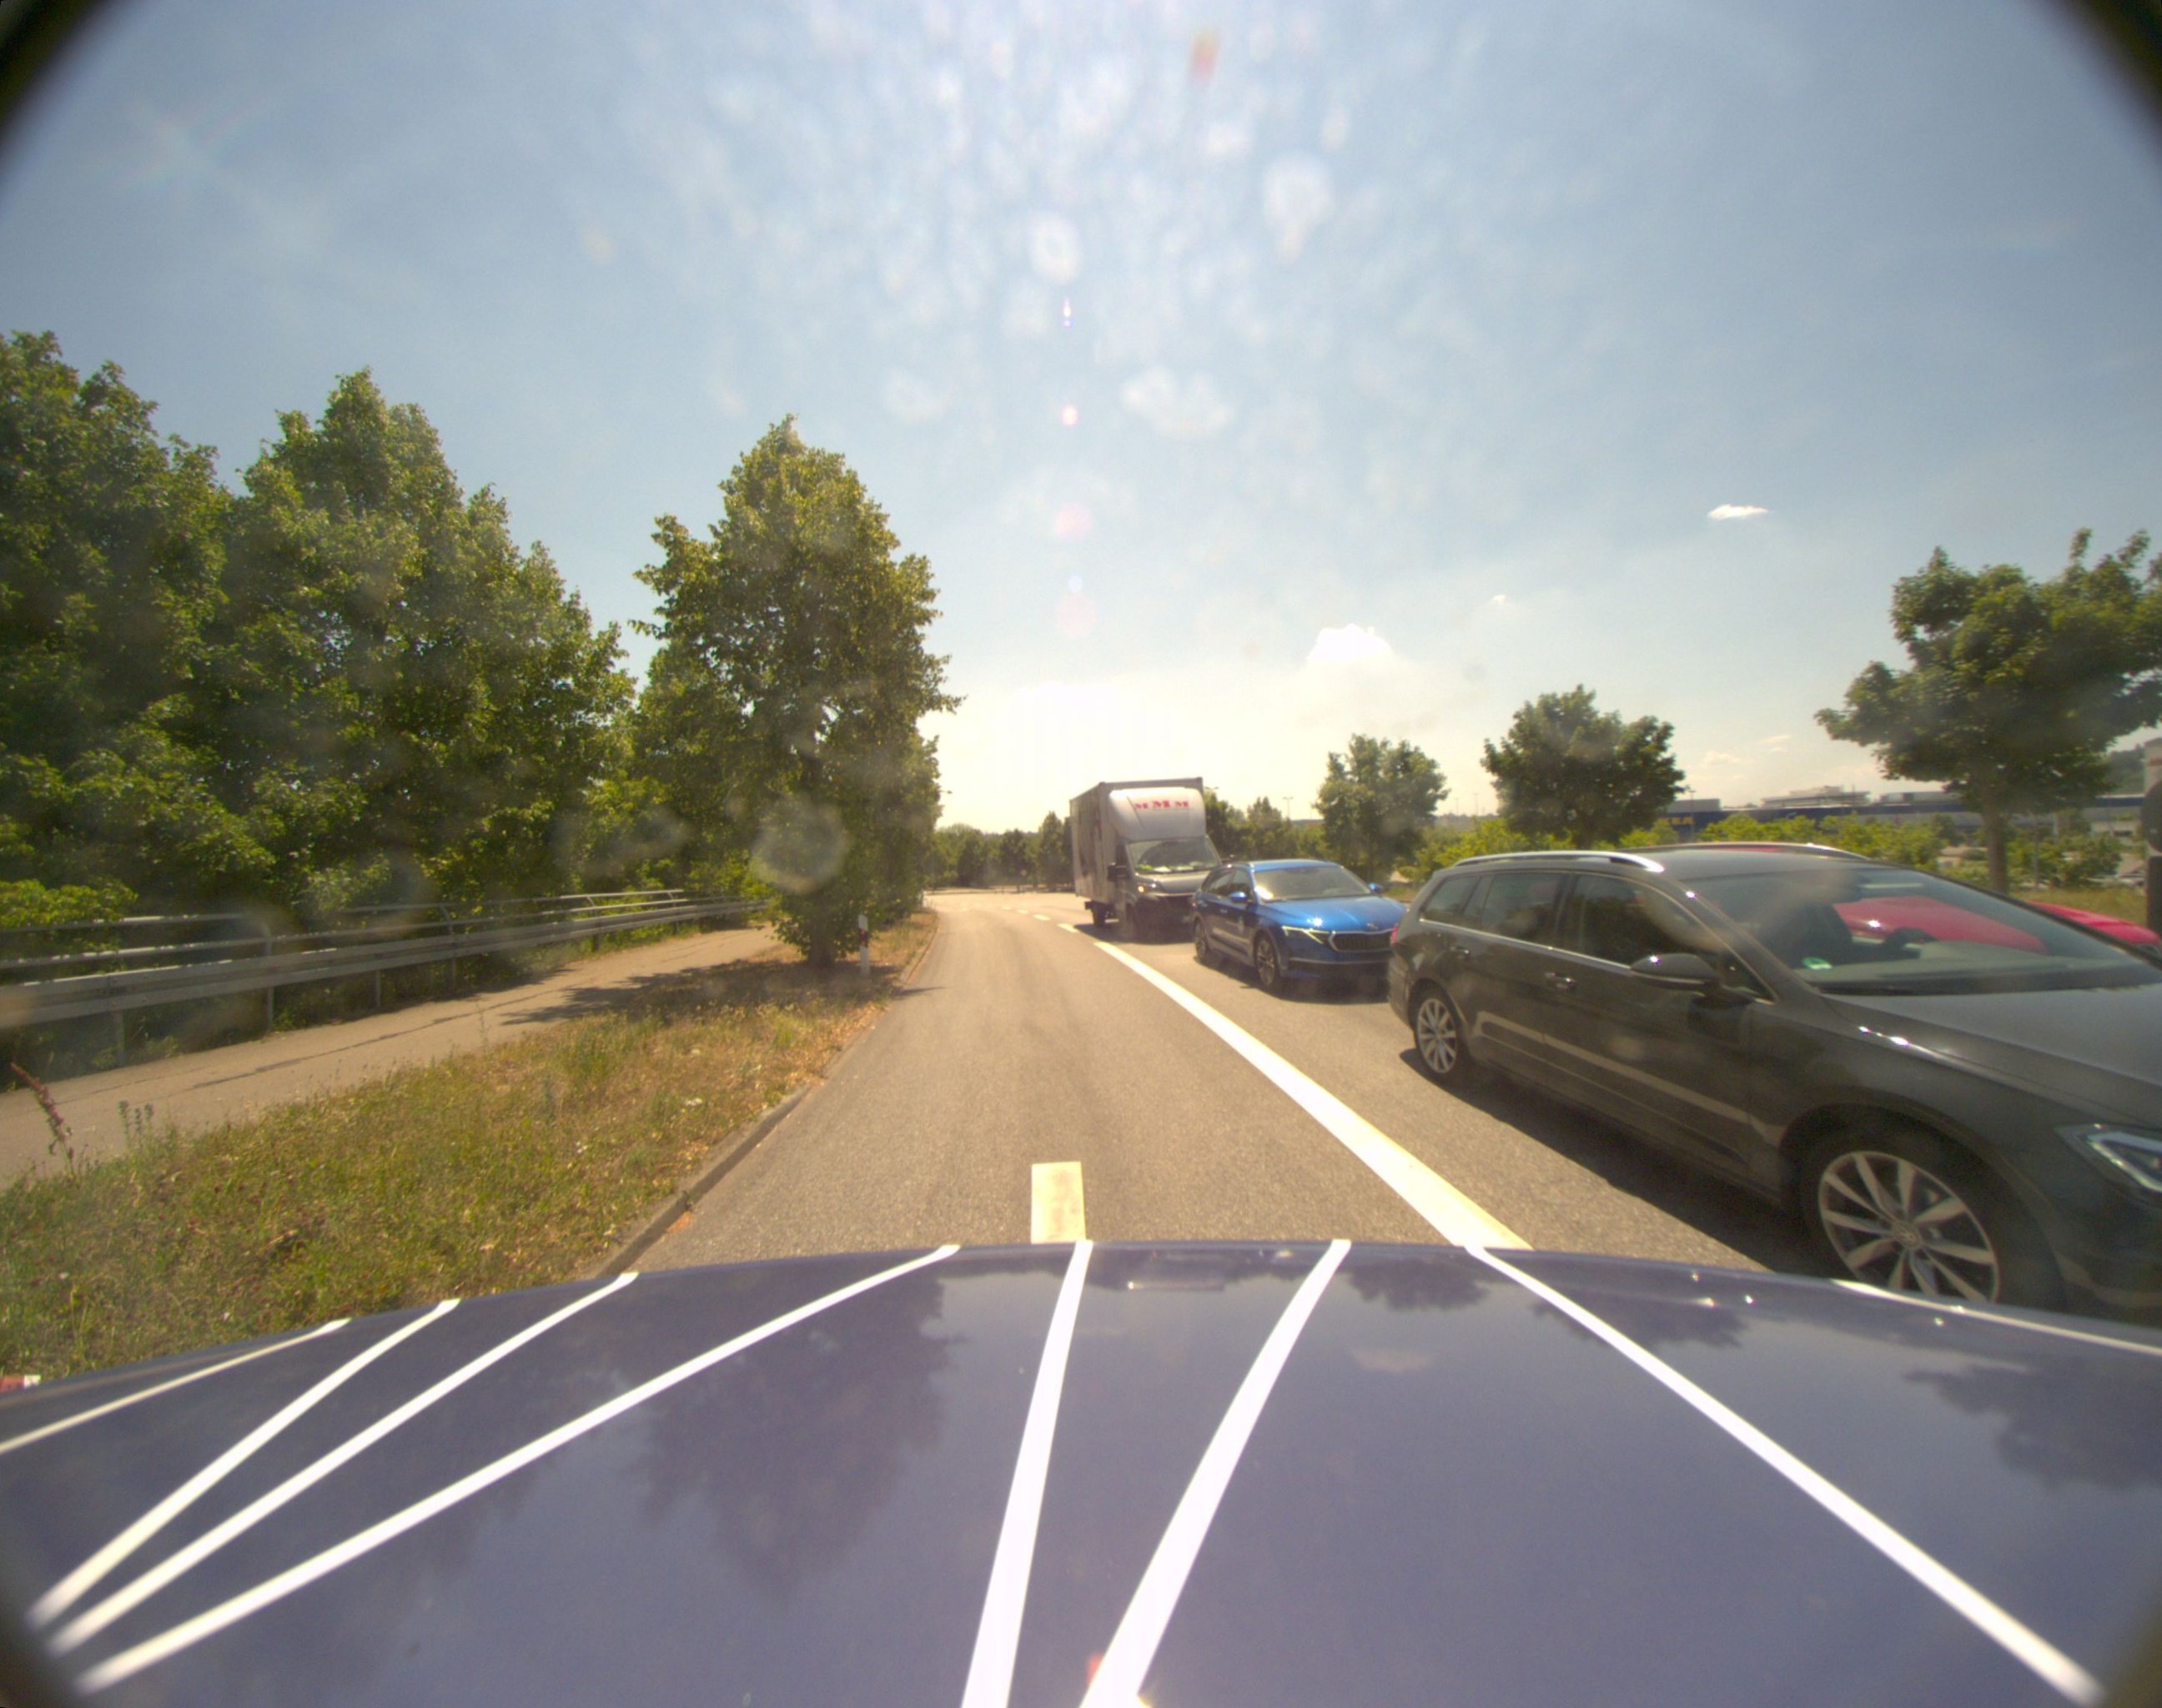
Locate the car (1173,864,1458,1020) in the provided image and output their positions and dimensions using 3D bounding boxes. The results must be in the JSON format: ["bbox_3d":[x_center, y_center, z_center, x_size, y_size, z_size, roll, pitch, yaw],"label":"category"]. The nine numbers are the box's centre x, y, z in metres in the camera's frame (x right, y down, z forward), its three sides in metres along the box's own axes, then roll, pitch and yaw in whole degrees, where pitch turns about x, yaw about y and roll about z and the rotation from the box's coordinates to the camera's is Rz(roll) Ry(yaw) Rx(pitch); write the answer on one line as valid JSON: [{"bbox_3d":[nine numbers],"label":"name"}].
[{"bbox_3d":[2.629,0.910,9.800,1.713,1.454,4.487,-3,-1,-8],"label":"car"}]

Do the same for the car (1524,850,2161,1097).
[{"bbox_3d":[6.224,0.701,6.784,1.665,1.380,4.448,-3,1,-4],"label":"car"}]

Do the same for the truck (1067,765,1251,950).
[{"bbox_3d":[1.394,0.143,17.626,2.415,3.327,7.199,-2,-1,-8],"label":"truck"}]

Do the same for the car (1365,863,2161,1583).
[{"bbox_3d":[3.139,0.833,3.460,1.783,1.474,4.428,-2,0,-3],"label":"car"}]
